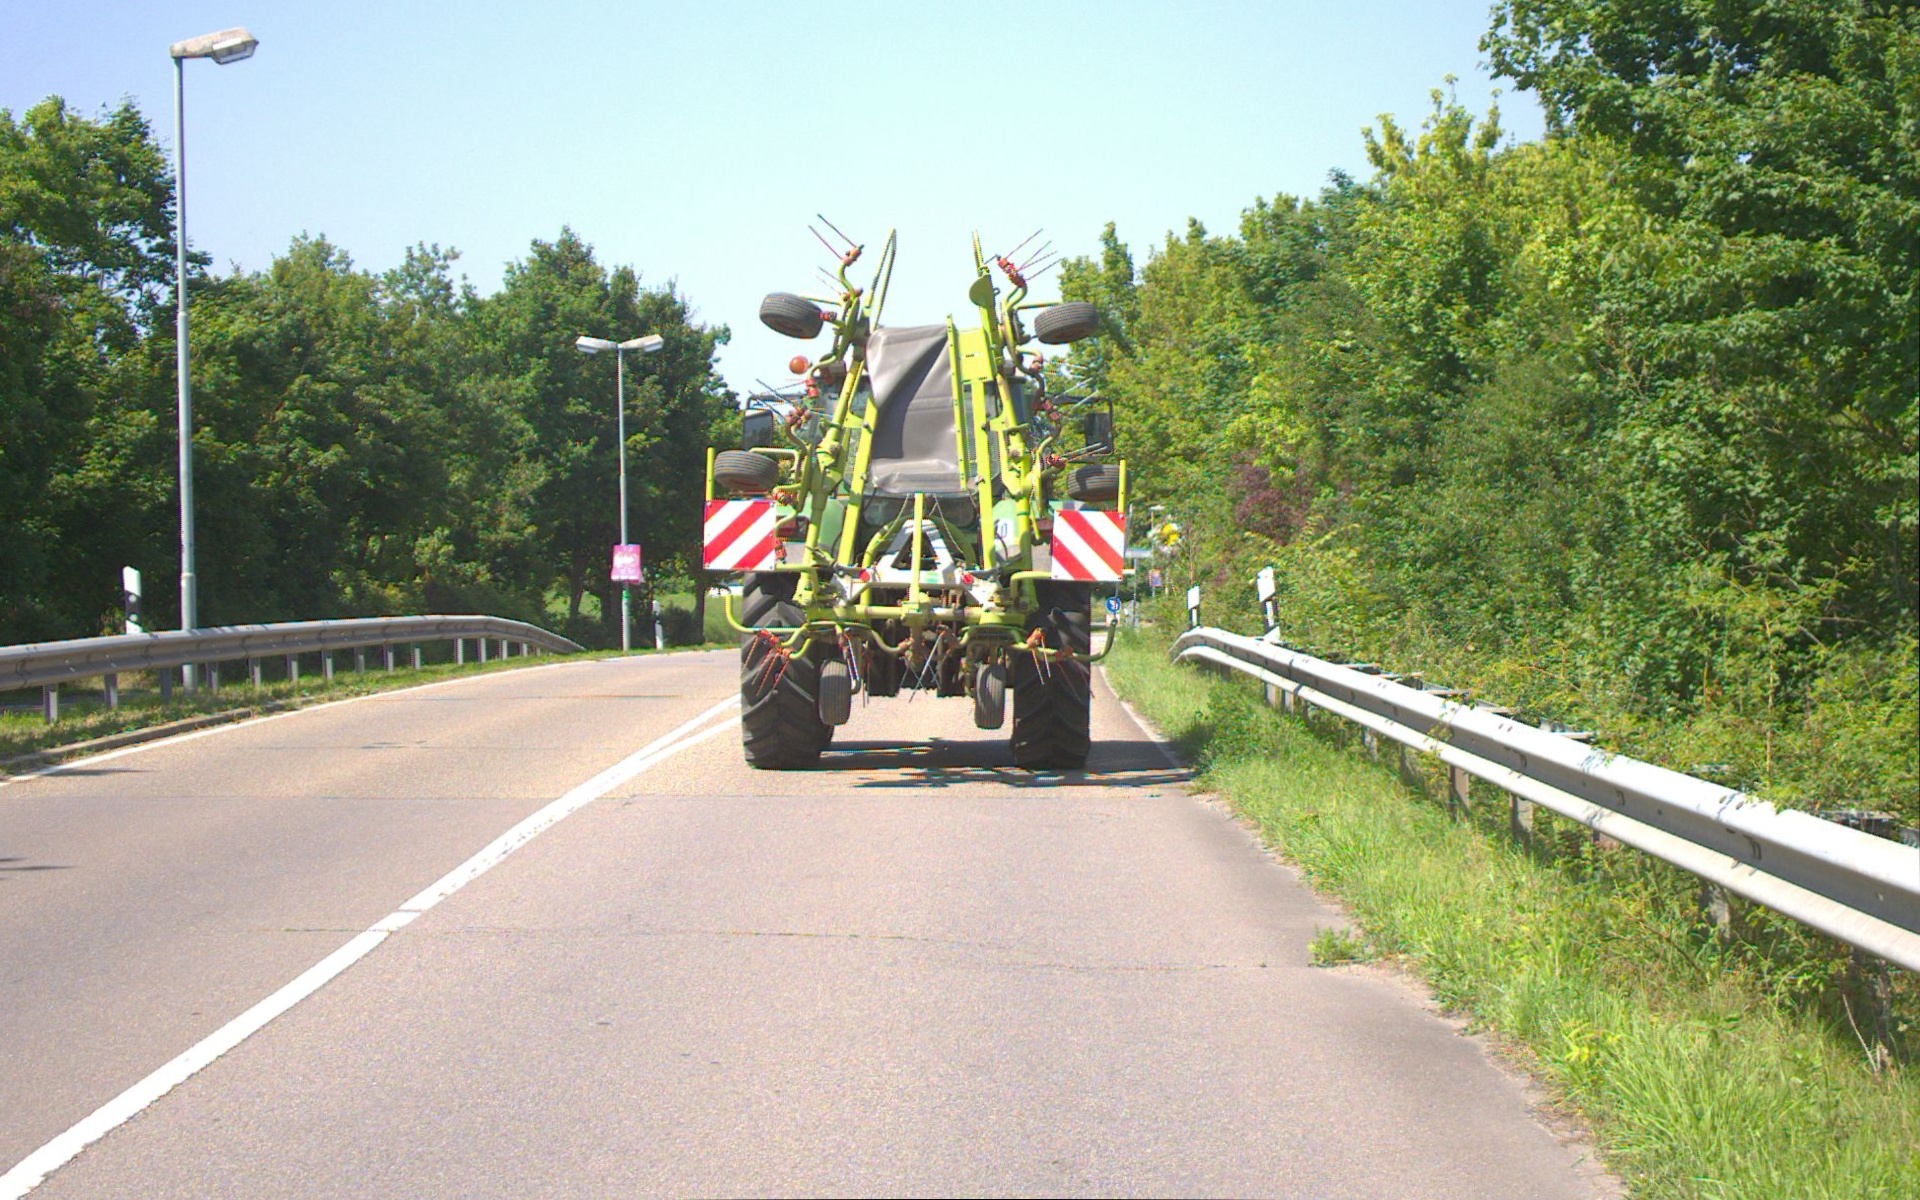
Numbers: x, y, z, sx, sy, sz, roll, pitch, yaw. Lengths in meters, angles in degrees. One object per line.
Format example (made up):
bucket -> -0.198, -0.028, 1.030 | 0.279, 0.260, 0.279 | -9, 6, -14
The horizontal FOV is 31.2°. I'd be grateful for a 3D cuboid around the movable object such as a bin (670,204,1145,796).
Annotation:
movable object such as a bin -> -0.273, -0.656, 22.794 | 2.755, 3.432, 5.670 | 0, 2, 1
